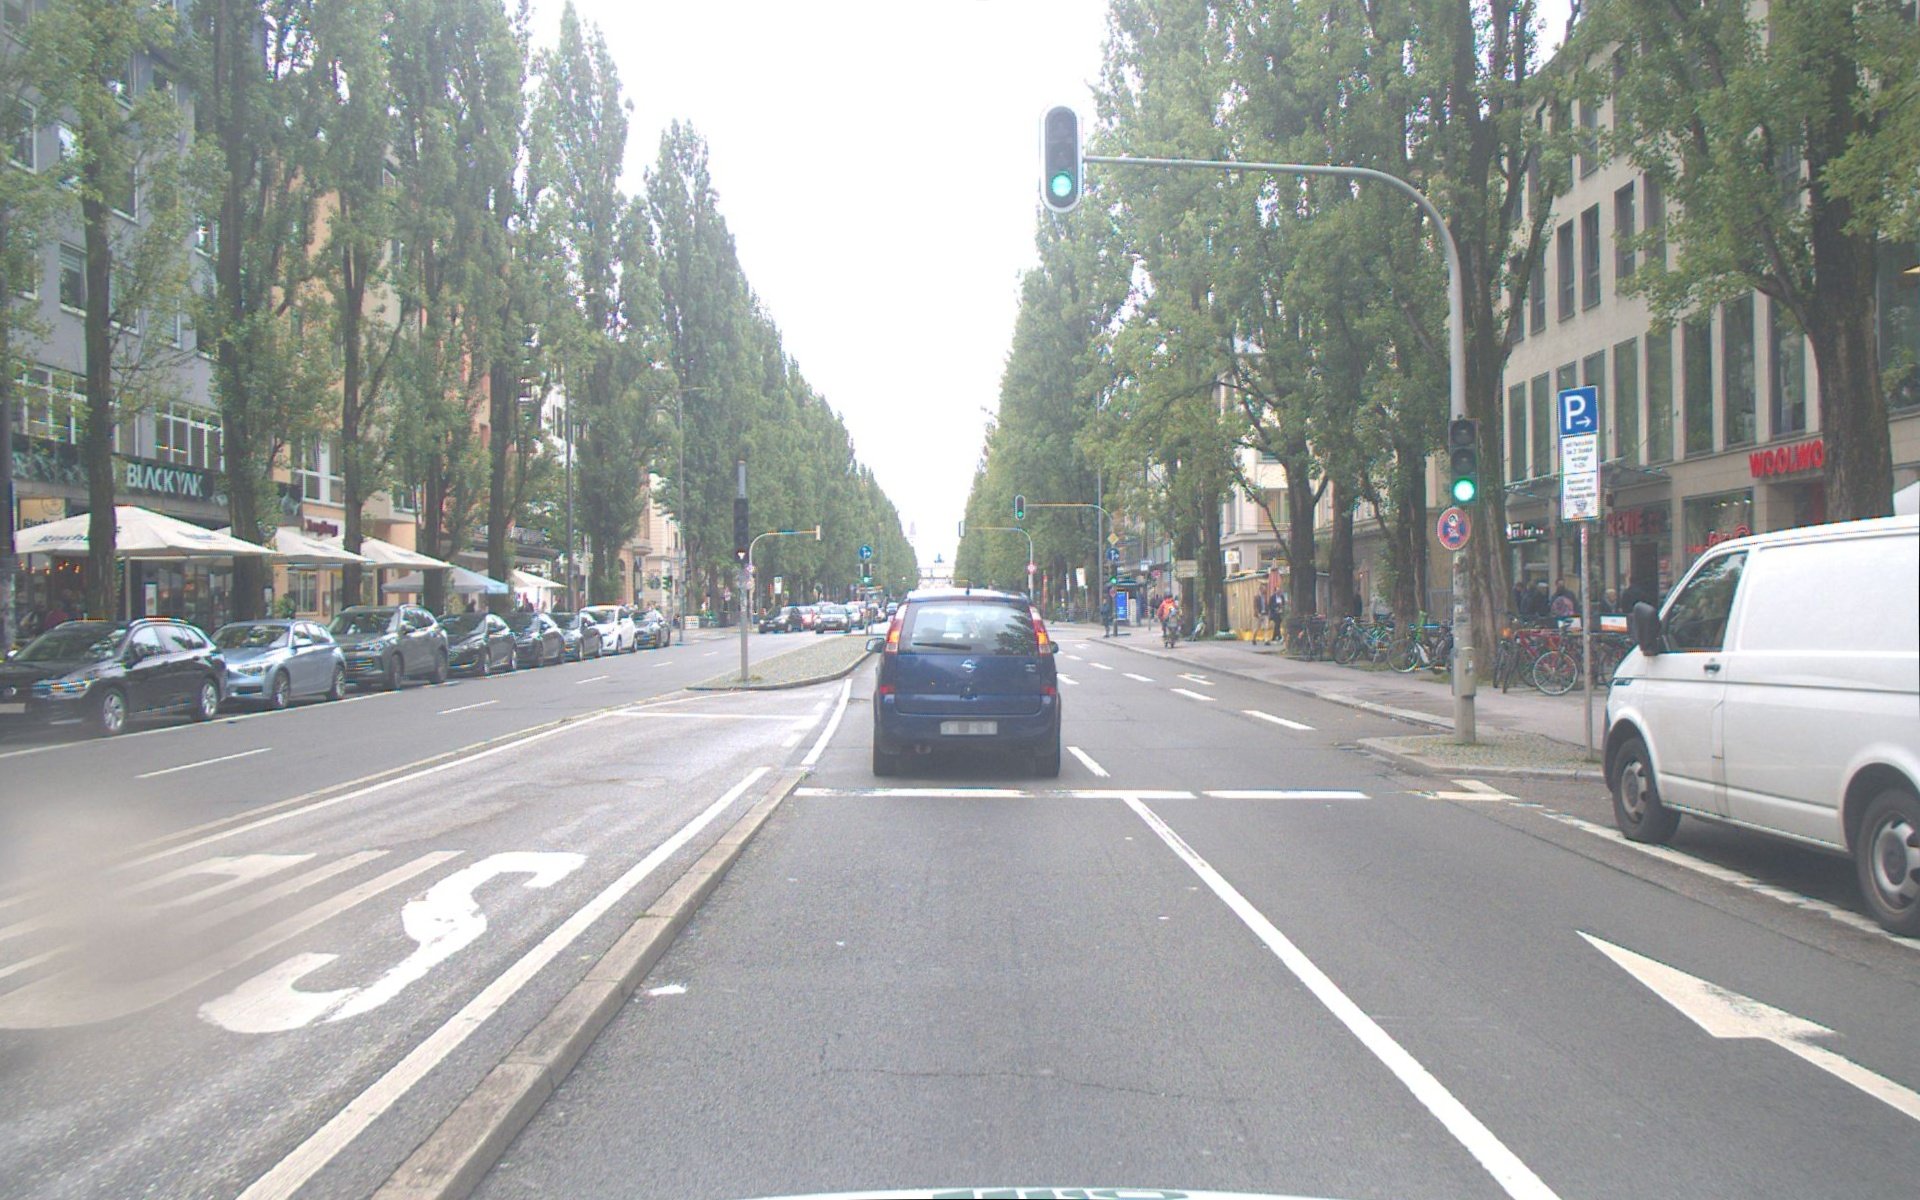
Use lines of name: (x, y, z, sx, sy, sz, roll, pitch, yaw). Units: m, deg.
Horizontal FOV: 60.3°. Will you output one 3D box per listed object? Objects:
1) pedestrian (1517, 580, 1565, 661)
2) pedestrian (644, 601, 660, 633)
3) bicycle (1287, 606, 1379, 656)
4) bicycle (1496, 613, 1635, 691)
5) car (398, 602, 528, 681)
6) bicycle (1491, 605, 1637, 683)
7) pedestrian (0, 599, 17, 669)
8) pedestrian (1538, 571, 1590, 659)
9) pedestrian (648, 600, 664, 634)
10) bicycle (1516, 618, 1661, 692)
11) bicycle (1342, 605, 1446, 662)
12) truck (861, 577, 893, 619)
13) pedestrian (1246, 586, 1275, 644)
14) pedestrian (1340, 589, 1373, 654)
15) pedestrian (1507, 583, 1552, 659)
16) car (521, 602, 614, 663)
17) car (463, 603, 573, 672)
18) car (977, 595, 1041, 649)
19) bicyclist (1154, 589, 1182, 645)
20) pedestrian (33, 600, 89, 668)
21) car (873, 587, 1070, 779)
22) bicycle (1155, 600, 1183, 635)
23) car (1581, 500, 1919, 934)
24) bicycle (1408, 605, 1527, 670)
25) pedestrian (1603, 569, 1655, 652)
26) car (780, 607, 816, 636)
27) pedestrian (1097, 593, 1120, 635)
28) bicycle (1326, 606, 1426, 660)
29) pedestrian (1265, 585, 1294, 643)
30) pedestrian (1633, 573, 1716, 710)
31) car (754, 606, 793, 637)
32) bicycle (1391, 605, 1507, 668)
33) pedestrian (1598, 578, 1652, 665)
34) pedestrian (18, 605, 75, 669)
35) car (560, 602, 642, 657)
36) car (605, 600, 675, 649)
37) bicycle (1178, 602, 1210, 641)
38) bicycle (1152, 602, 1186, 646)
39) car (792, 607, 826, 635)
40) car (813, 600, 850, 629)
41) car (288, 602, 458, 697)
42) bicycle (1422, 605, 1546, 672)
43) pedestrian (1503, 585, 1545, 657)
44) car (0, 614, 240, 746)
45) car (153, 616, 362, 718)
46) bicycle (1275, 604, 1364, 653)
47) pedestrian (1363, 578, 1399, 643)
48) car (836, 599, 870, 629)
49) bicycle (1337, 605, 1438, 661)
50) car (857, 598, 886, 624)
pedestrian: (13.523, 0.483, 38.518, 0.707, 1.859, 0.885, 1, -1, -11)
pedestrian: (-17.158, 0.941, 92.029, 0.755, 1.797, 0.881, -1, 0, -17)
bicycle: (9.493, 0.786, 42.113, 2.182, 1.225, 0.626, -1, 0, -3)
bicycle: (9.520, 0.807, 26.024, 1.955, 1.153, 0.626, -1, 0, -3)
car: (-11.701, 0.943, 39.248, 1.828, 1.695, 4.119, -2, 0, -1)
bicycle: (9.964, 0.721, 27.310, 2.182, 1.225, 0.626, -1, 0, -3)
pedestrian: (-20.119, 0.699, 34.238, 0.750, 1.434, 0.799, 1, -1, -6)
pedestrian: (11.958, 0.301, 32.751, 0.660, 1.715, 0.758, -1, -1, -5)
pedestrian: (-16.450, 0.926, 89.434, 0.754, 1.797, 0.882, -1, 0, -14)
bicycle: (9.533, 0.827, 25.114, 1.955, 1.051, 0.626, -1, 0, -3)
bicycle: (9.868, 0.759, 37.599, 2.182, 1.225, 0.626, -1, 0, -3)
truck: (-6.963, -0.167, 139.130, 2.334, 3.405, 7.109, -1, 0, -1)
pedestrian: (9.659, 0.477, 53.150, 0.625, 1.859, 0.885, 1, -1, -11)
pedestrian: (11.526, 0.626, 48.062, 0.625, 1.859, 0.885, 1, -1, -11)
pedestrian: (14.132, 0.516, 41.052, 0.707, 1.859, 0.885, 1, -1, -11)
car: (-11.800, 0.944, 50.002, 1.828, 1.695, 4.119, -2, 0, -1)
car: (-11.825, 0.964, 44.475, 1.828, 1.695, 4.119, -2, 0, -1)
car: (1.507, 0.682, 52.405, 1.858, 1.650, 3.999, 0, 0, -1)
bicyclist: (6.781, 0.556, 53.868, 0.752, 1.797, 0.885, -1, 0, -1)
pedestrian: (-19.225, 0.723, 35.384, 0.750, 1.434, 0.799, 1, -1, -6)
car: (0.078, 0.692, 15.753, 1.637, 1.596, 3.999, 0, 0, -1)
bicycle: (8.284, 0.692, 65.685, 0.757, 1.372, 2.449, -1, 0, -1)
car: (5.227, 0.530, 9.149, 1.751, 1.980, 4.729, 0, 0, -1)
bicycle: (10.126, 0.746, 33.034, 2.182, 1.225, 0.626, -1, 0, -3)
pedestrian: (15.176, 0.240, 37.534, 0.707, 1.859, 0.885, 1, -1, -11)
car: (-9.810, 1.277, 100.420, 1.828, 1.695, 4.119, -1, 0, -1)
pedestrian: (6.386, 0.585, 71.302, 0.865, 1.797, 0.769, -1, 0, -4)
bicycle: (9.858, 0.773, 39.206, 2.182, 1.225, 0.626, -1, 0, -3)
pedestrian: (10.317, 0.449, 53.462, 0.625, 1.859, 0.885, 1, -1, -11)
pedestrian: (9.172, 0.525, 21.233, 0.745, 1.715, 0.746, -2, -1, 41)
car: (-10.579, 1.198, 94.048, 1.828, 1.695, 4.119, -1, 0, -1)
bicycle: (10.076, 0.745, 34.116, 2.182, 1.225, 0.626, -1, 0, -3)
pedestrian: (13.381, 0.425, 33.297, 0.741, 1.715, 0.674, -1, -1, -3)
pedestrian: (-20.594, 0.828, 37.295, 0.780, 1.434, 0.768, 1, -1, 11)
car: (-11.941, 0.939, 55.261, 1.828, 1.695, 4.119, -2, 0, -1)
car: (-12.040, 0.906, 62.435, 1.828, 1.695, 4.119, -2, 0, -1)
bicycle: (8.505, 0.766, 60.185, 0.757, 1.372, 2.449, -1, 0, -1)
bicycle: (6.788, 0.767, 53.804, 0.757, 1.372, 2.449, -1, 0, -1)
car: (-9.735, 1.341, 106.834, 1.828, 1.695, 4.119, -1, 0, -1)
car: (-6.696, 0.747, 86.533, 1.699, 1.491, 3.364, -1, 0, -1)
car: (-11.626, 0.923, 33.067, 1.828, 1.695, 4.400, -2, 0, -1)
bicycle: (10.099, 0.744, 31.921, 2.182, 1.225, 0.626, -1, 0, -3)
pedestrian: (14.903, 0.553, 43.711, 0.707, 1.859, 0.885, 1, -1, -11)
car: (-11.538, 1.010, 22.279, 1.762, 1.515, 4.349, -2, 0, -1)
car: (-11.530, 1.048, 27.460, 1.698, 1.450, 4.142, -2, 0, -1)
bicycle: (9.448, 0.750, 43.491, 2.182, 1.225, 0.626, -1, 0, -3)
pedestrian: (12.268, 0.315, 48.228, 0.707, 1.859, 0.885, 1, -1, -11)
car: (-6.350, 0.818, 98.391, 1.828, 1.695, 4.119, -1, 0, -1)
bicycle: (9.917, 0.765, 38.409, 2.182, 1.225, 0.626, -1, 0, -3)
car: (-6.086, 0.734, 114.165, 1.828, 1.695, 4.119, -1, 0, -1)
